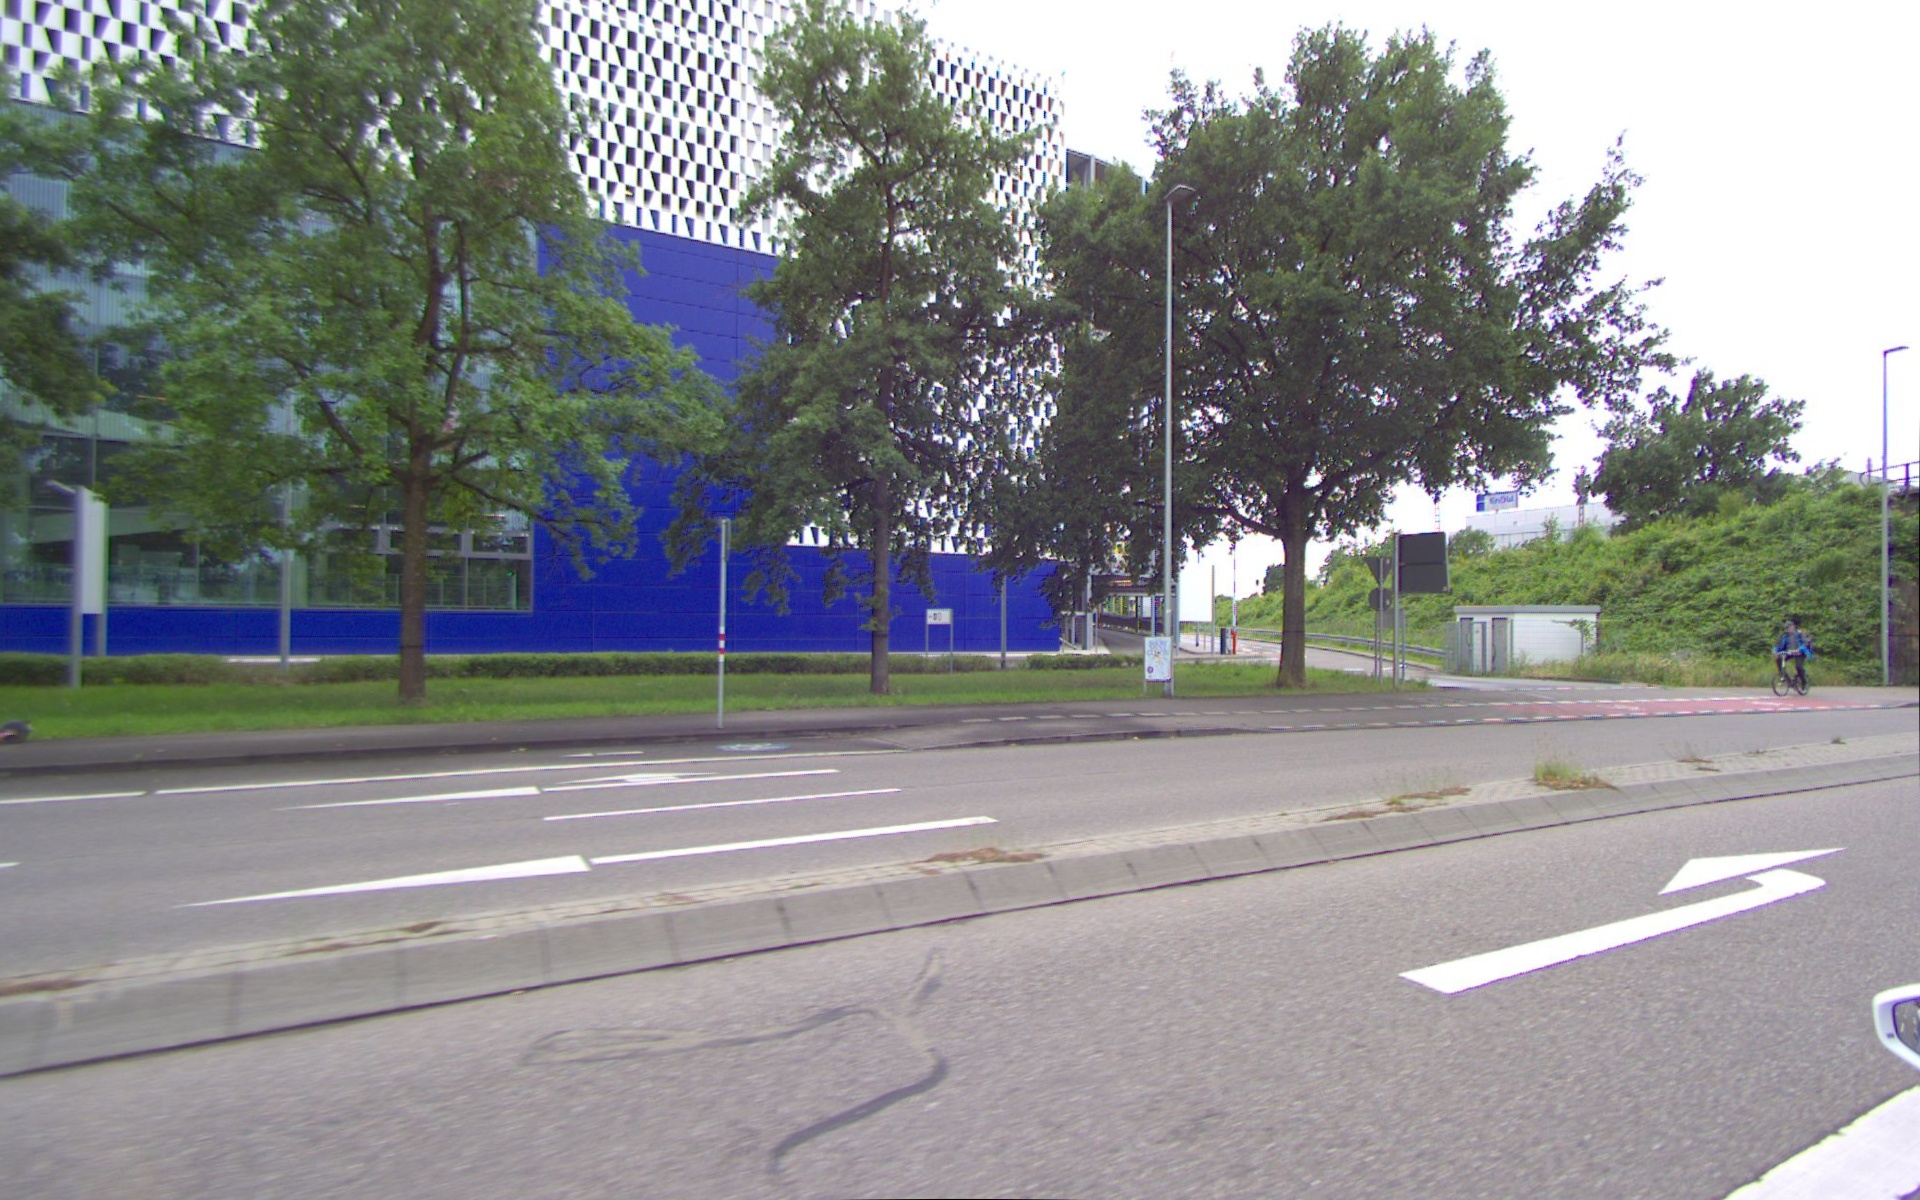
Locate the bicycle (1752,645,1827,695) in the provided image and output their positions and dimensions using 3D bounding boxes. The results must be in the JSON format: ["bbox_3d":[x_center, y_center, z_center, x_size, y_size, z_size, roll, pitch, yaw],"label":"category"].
[{"bbox_3d":[21.586,1.810,26.121,2.343,1.202,0.709,2,0,-30],"label":"bicycle"}]

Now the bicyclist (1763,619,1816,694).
[{"bbox_3d":[21.542,1.452,26.085,1.008,1.899,0.698,2,0,-30],"label":"bicyclist"}]

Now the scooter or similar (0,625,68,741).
[{"bbox_3d":[-11.388,0.954,11.642,1.482,1.339,0.446,1,-1,-21],"label":"scooter or similar"}]
